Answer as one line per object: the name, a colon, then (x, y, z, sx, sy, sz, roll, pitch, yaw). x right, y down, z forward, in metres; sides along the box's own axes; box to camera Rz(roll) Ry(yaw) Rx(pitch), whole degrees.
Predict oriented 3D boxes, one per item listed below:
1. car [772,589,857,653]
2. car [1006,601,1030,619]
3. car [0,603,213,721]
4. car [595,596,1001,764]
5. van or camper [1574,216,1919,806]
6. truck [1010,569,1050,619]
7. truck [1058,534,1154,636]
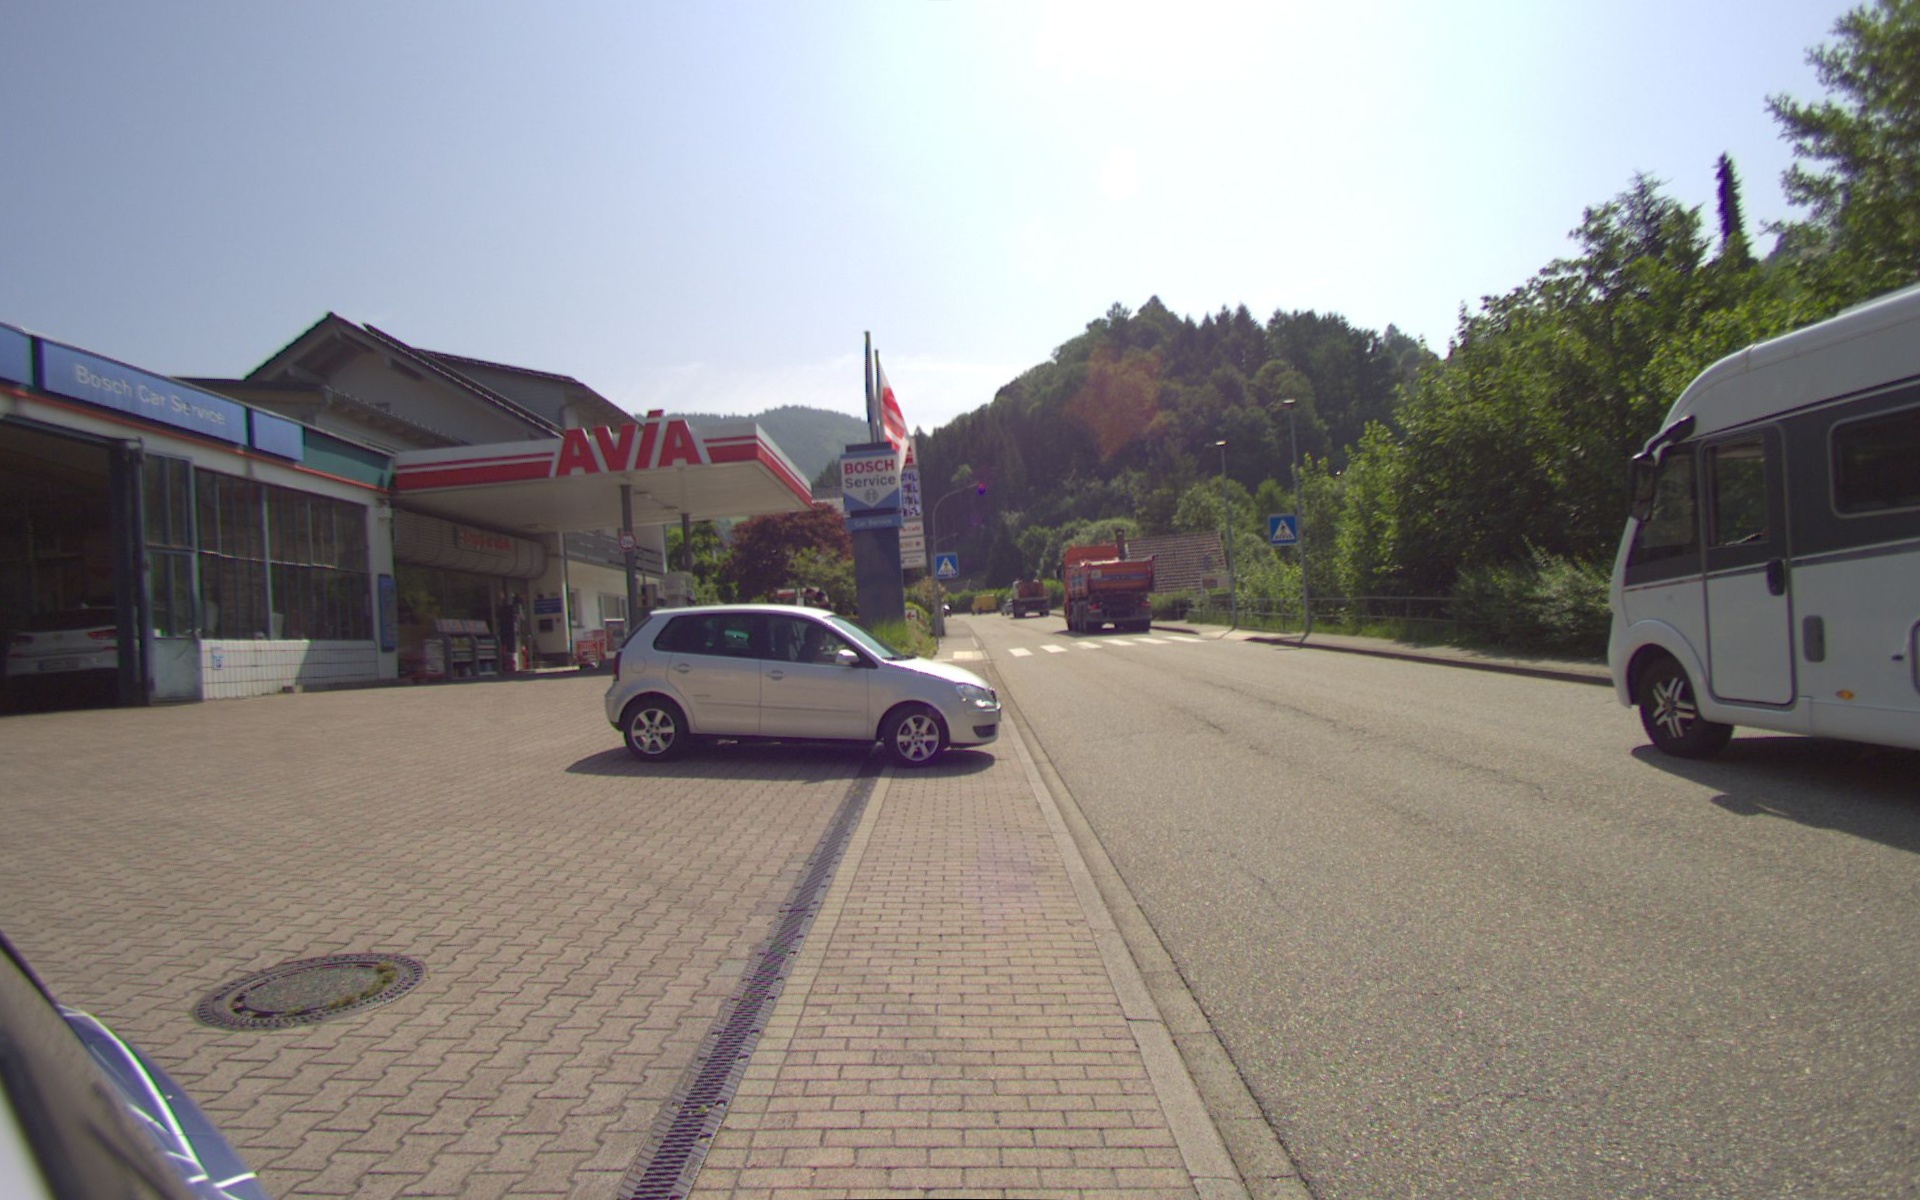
car: (-3.857, 0.528, 27.429, 1.674, 1.589, 3.910, -1, 0, 1)
car: (5.184, 0.857, 90.933, 1.762, 1.586, 3.601, -1, 0, -3)
car: (-14.035, 0.911, 16.796, 1.578, 1.701, 3.943, -1, 0, -20)
car: (-1.454, 0.713, 9.950, 3.708, 1.493, 1.594, 0, 0, 4)
van or camper: (6.024, -0.510, 3.810, 2.333, 2.975, 8.050, -3, -1, 0)
truck: (5.371, -0.425, 78.881, 2.617, 3.609, 7.770, -3, 0, 1)
truck: (5.742, -0.554, 41.155, 2.616, 3.609, 8.192, -3, 0, 0)
